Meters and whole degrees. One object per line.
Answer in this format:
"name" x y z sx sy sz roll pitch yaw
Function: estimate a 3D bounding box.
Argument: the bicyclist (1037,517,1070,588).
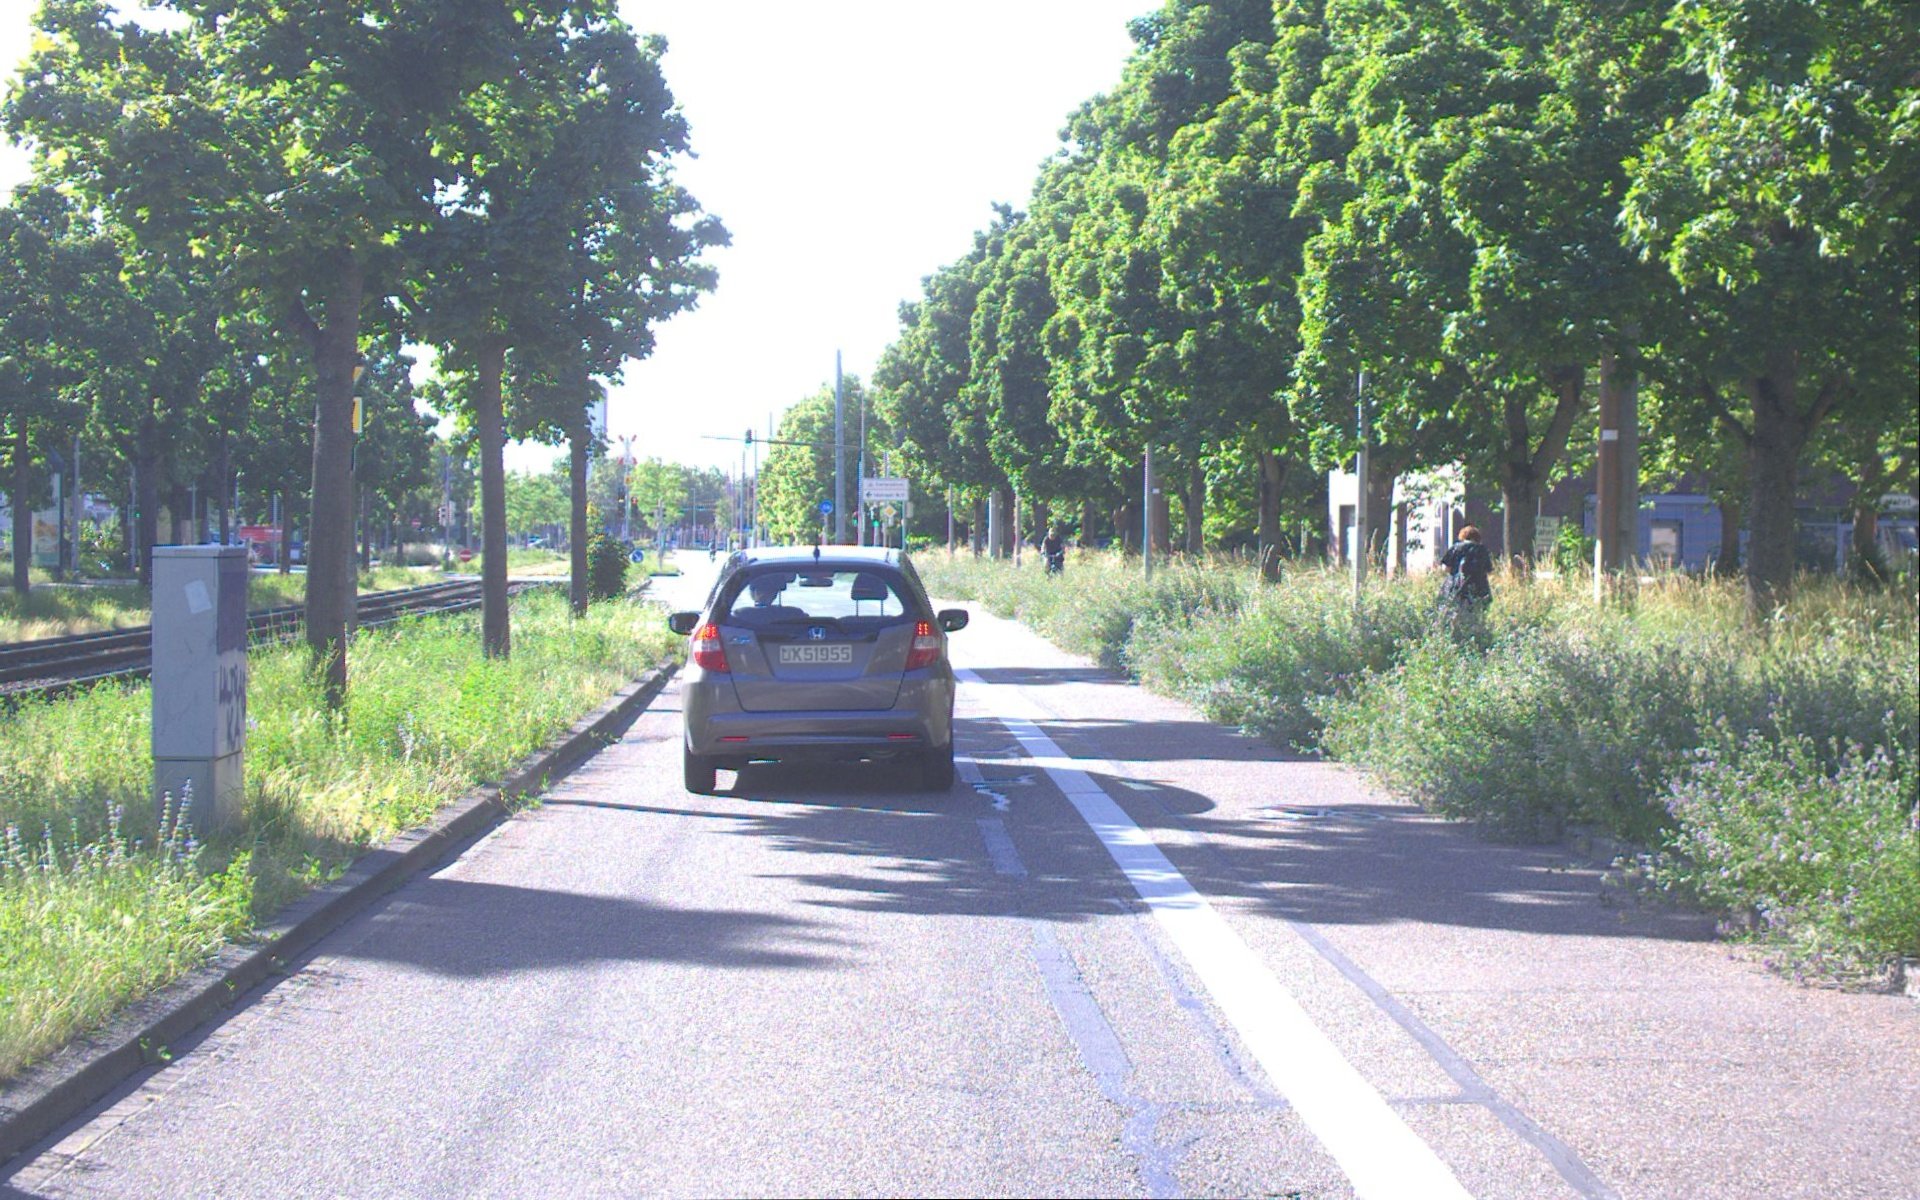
"bicyclist" 2.282 -1.163 83.864 0.683 1.714 0.903 0 0 -5

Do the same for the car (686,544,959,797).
"car" -0.908 0.390 22.161 1.624 1.494 3.457 0 1 -3

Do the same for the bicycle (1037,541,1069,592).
"bicycle" 2.269 -0.815 83.871 0.483 1.200 2.144 0 -1 -7

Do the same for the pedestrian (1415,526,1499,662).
"pedestrian" 5.794 -0.078 40.115 0.824 1.563 0.762 1 1 -1
